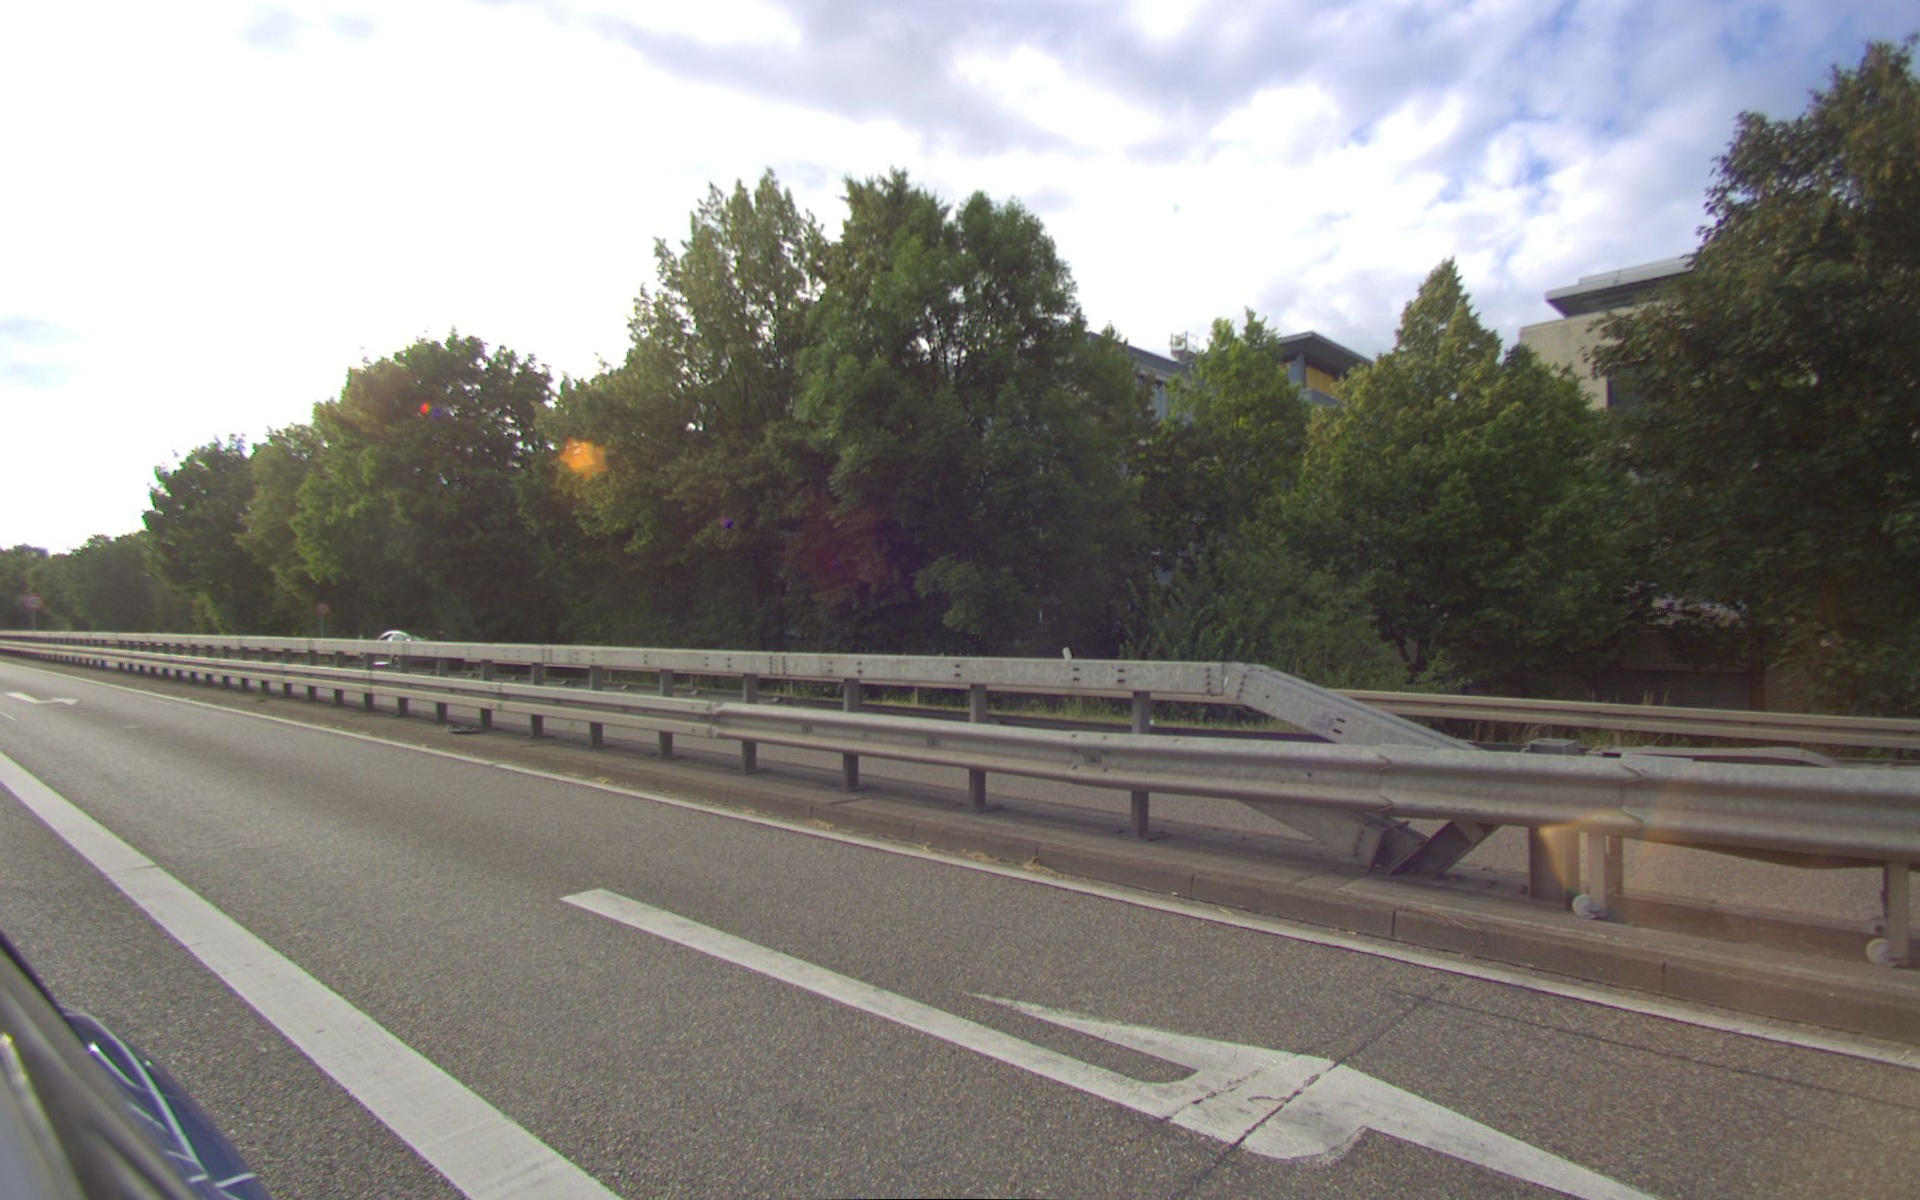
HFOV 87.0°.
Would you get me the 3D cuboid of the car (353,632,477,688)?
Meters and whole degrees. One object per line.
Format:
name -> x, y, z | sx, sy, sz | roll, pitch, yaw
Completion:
car -> -16.688, 1.769, 30.907 | 4.371, 1.468, 1.896 | -1, 0, 41
